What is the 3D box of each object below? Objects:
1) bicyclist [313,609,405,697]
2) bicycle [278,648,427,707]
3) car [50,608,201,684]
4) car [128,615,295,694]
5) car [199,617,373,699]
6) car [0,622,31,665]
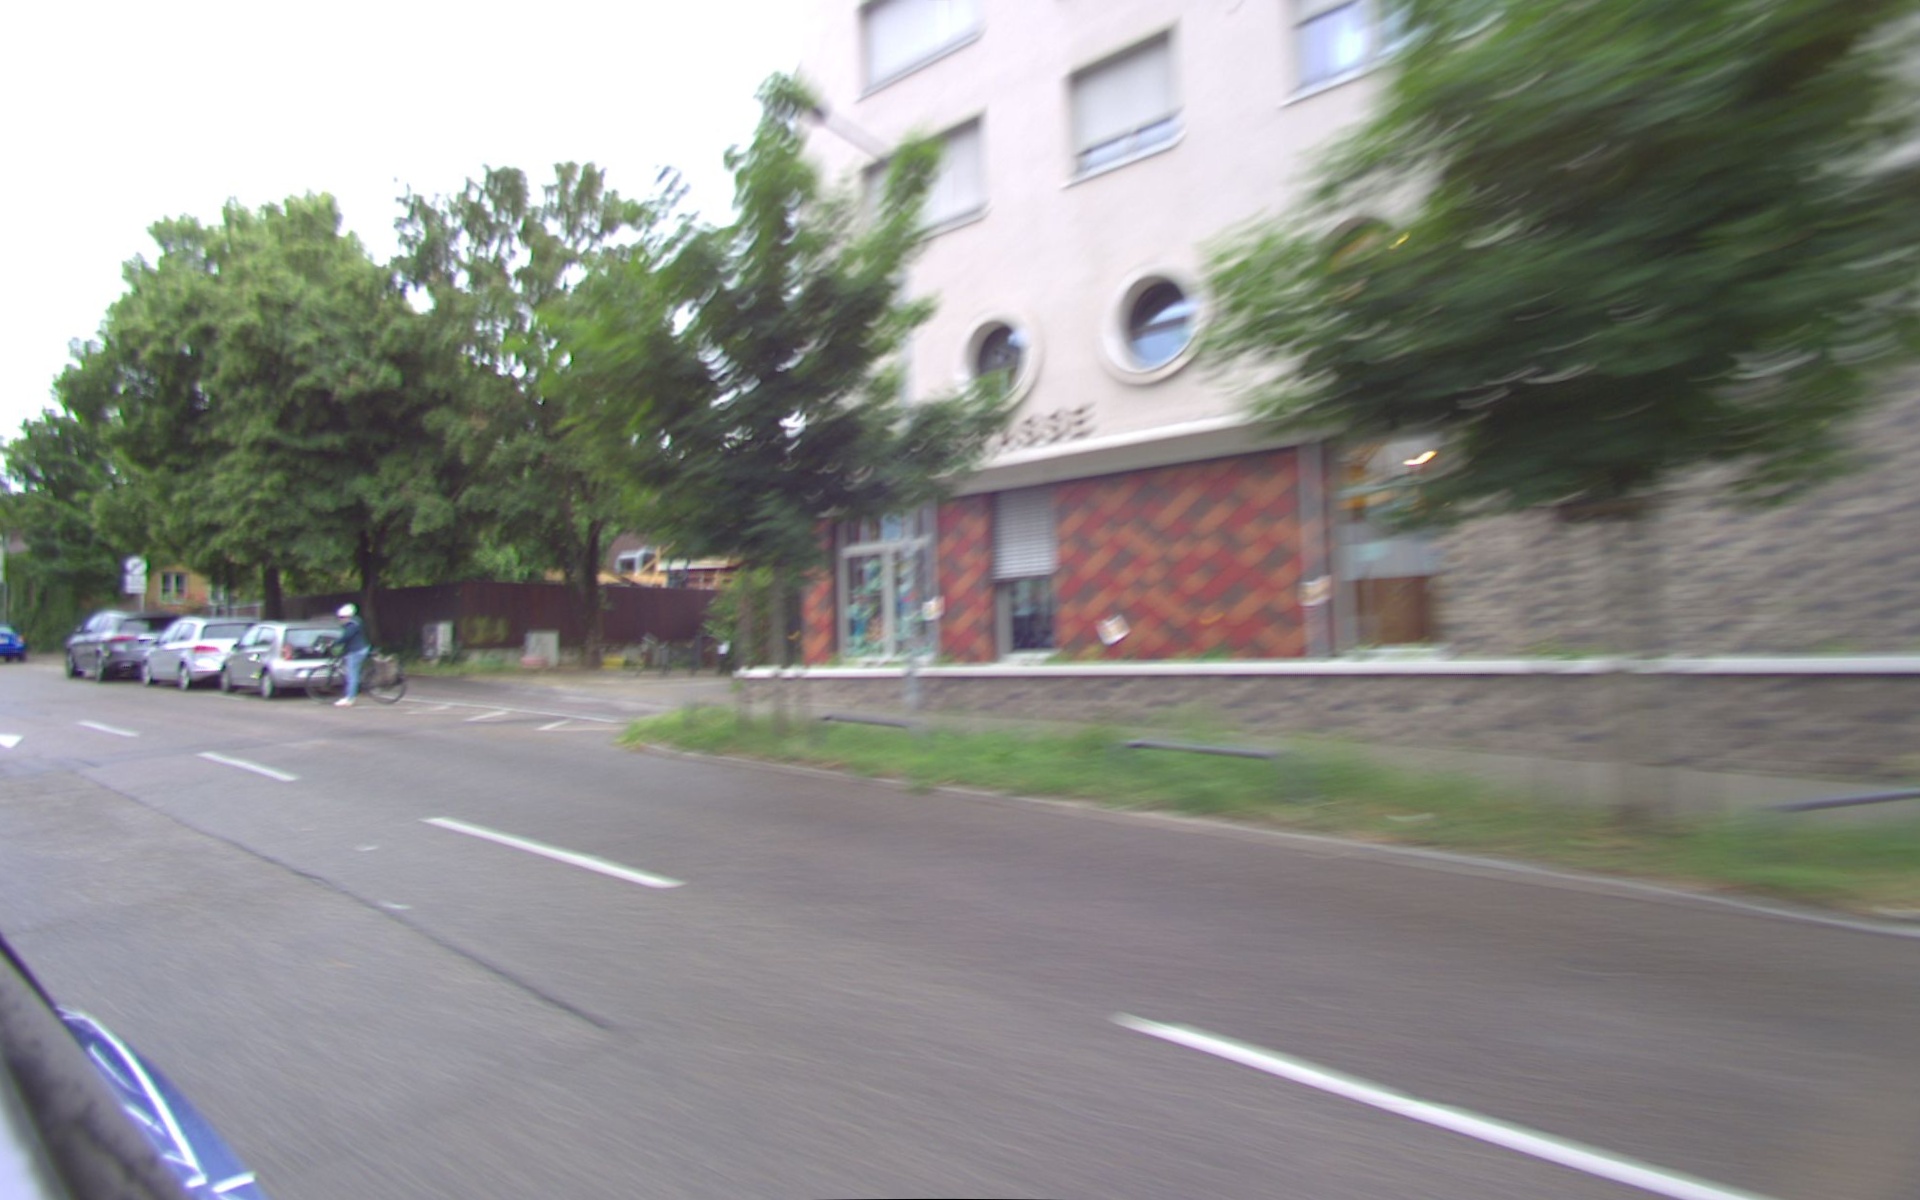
[{"bbox_3d":[-10.704,0.927,18.050,1.186,1.534,0.803,0,0,3],"label":"bicyclist"},{"bbox_3d":[-10.806,1.366,18.051,2.224,0.986,0.804,0,0,3],"label":"bicycle"},{"bbox_3d":[-21.931,1.113,26.510,5.403,1.800,1.974,0,0,38],"label":"car"},{"bbox_3d":[-17.307,1.166,23.329,4.483,1.605,1.971,0,0,38],"label":"car"},{"bbox_3d":[-13.795,1.109,20.651,3.842,1.474,1.861,0,0,38],"label":"car"},{"bbox_3d":[-35.619,1.577,36.821,4.179,1.481,1.975,0,0,37],"label":"car"}]
